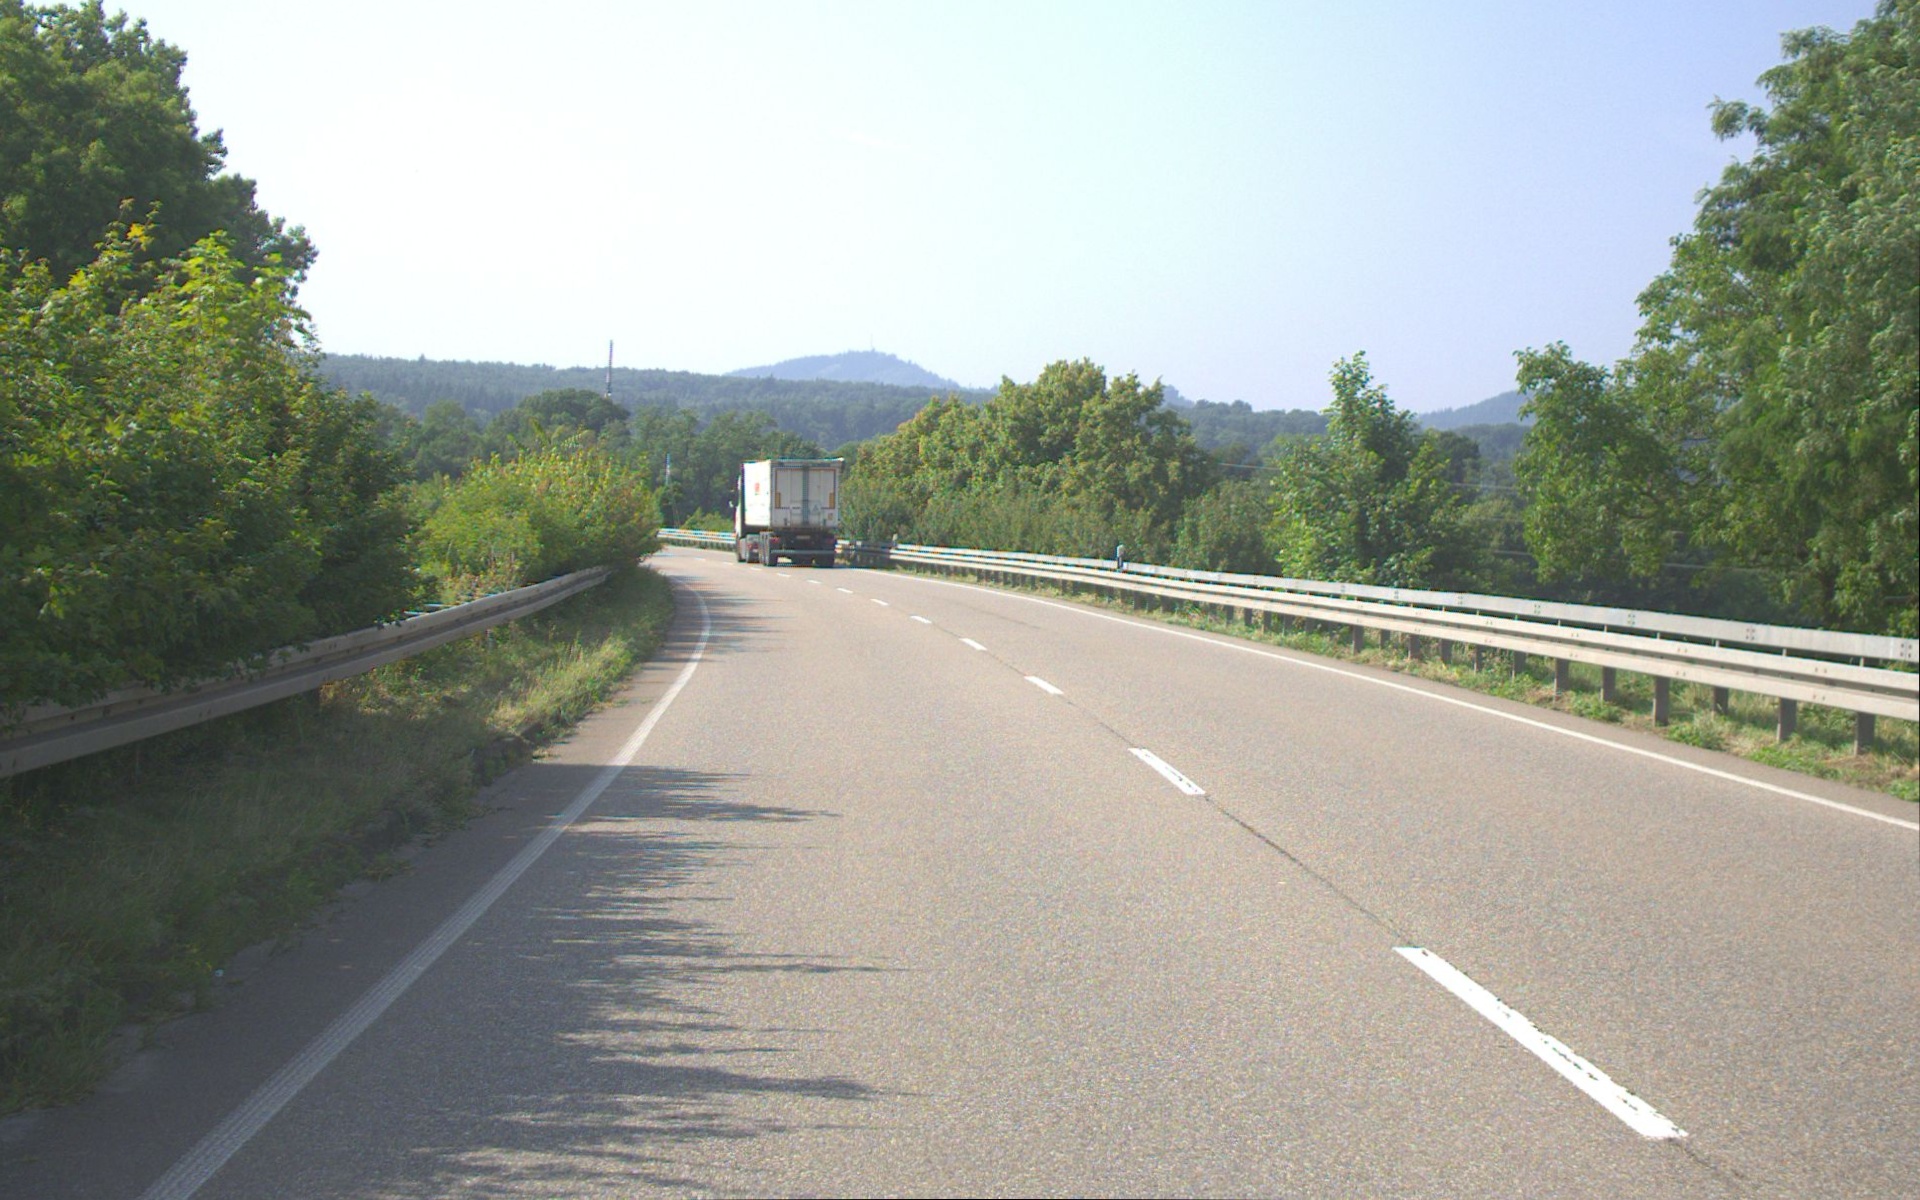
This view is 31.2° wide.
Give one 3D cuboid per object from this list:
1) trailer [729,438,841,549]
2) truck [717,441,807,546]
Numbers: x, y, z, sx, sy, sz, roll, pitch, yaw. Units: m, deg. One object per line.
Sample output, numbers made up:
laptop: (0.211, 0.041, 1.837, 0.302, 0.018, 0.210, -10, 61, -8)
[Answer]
trailer: (-6.509, -3.926, 126.535, 2.678, 3.893, 9.676, 1, 2, -11)
truck: (-7.678, -4.108, 132.530, 2.658, 3.882, 5.650, 1, 2, -11)
